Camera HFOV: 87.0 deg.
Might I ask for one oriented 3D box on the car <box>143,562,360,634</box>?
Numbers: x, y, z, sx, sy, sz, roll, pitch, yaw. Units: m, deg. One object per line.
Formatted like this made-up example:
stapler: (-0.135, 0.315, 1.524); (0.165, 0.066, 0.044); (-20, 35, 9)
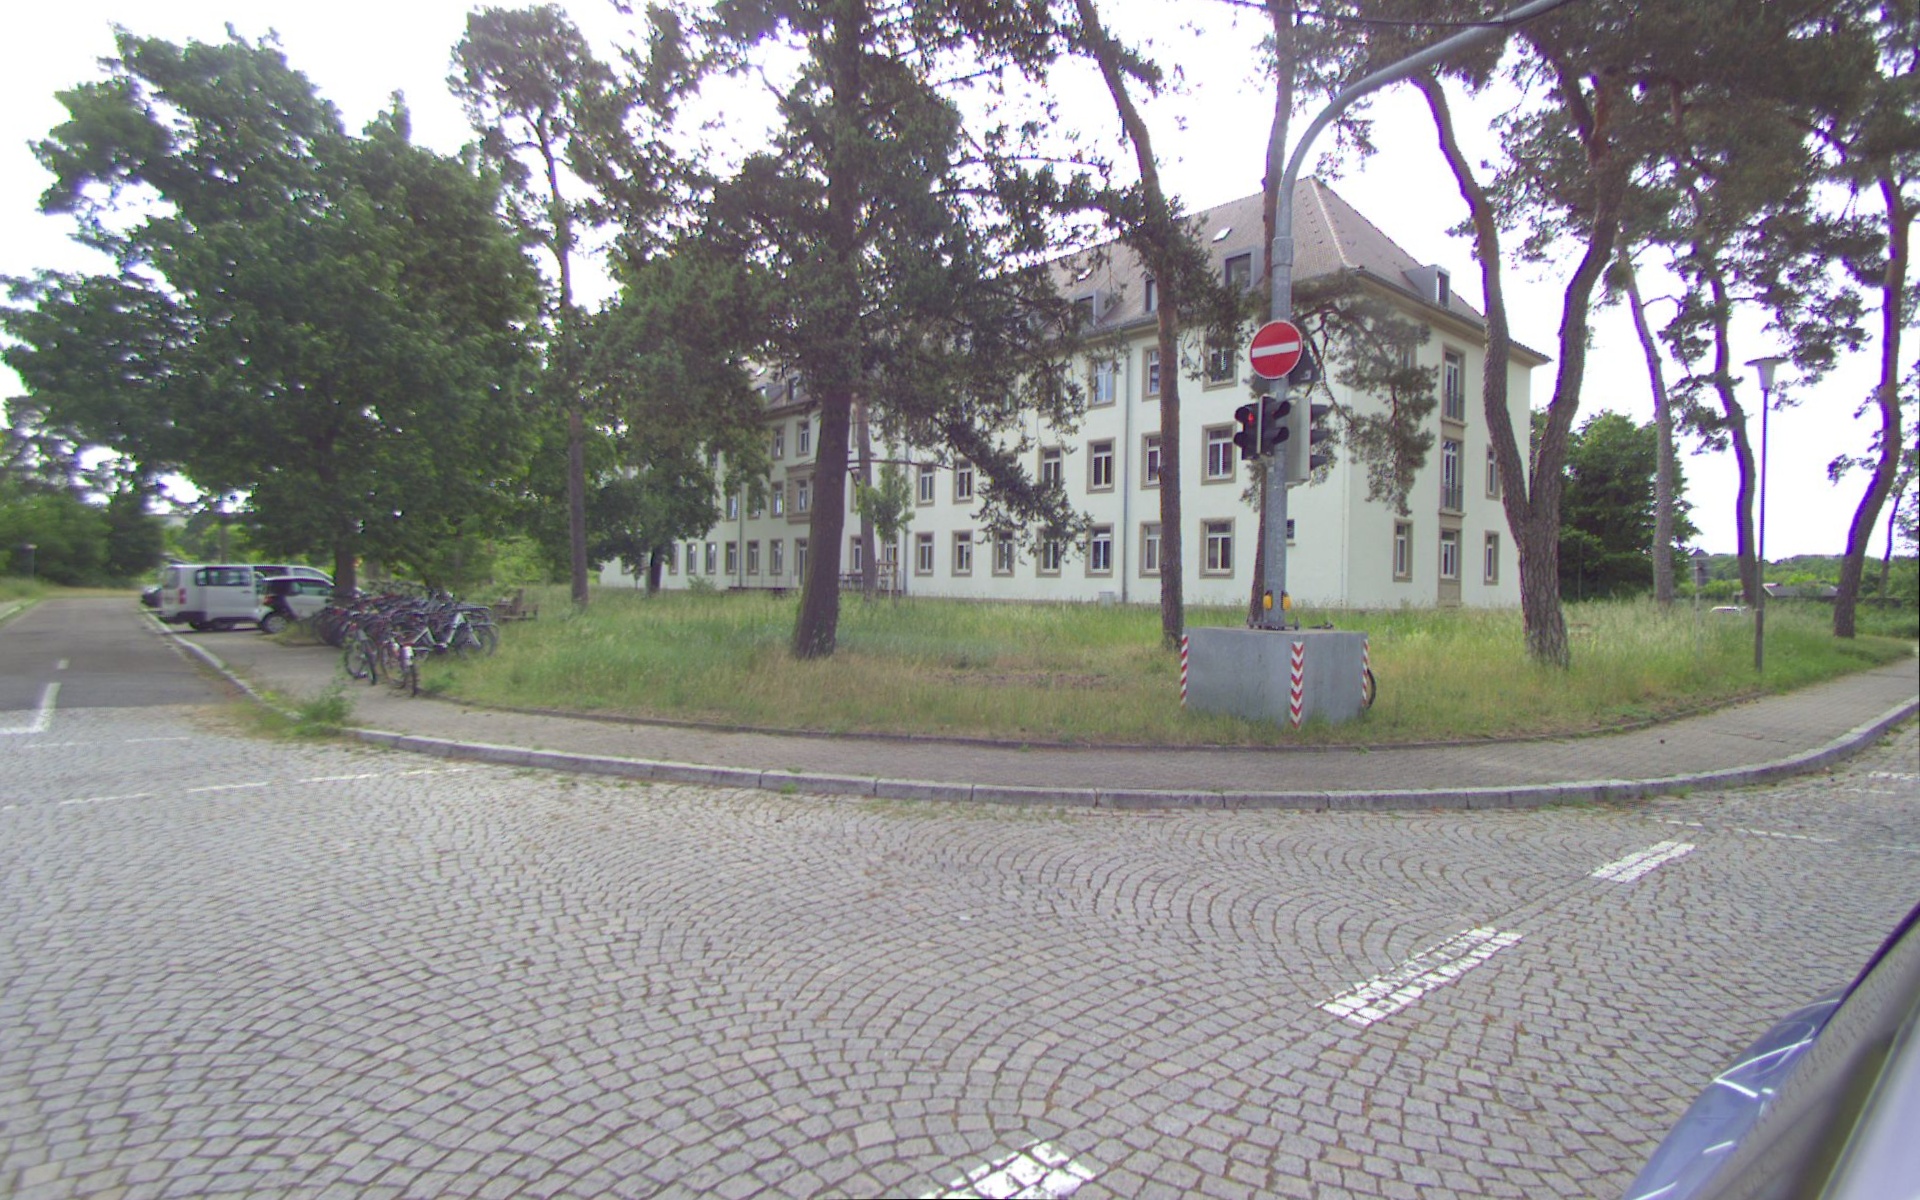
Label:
car: (-20.742, -0.086, 29.839); (2.224, 1.934, 4.805); (1, 1, 33)

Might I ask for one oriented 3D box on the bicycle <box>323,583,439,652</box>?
bicycle: (-11.728, 0.339, 20.534); (1.977, 1.336, 0.542); (0, 0, -37)

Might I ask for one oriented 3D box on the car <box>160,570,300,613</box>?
car: (-29.396, -0.354, 40.821); (4.438, 1.638, 1.997); (0, 1, -41)

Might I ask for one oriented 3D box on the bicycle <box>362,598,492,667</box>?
bicycle: (-8.977, 0.526, 17.087); (1.866, 1.115, 0.543); (0, 0, -37)

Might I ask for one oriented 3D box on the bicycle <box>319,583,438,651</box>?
bicycle: (-12.050, 0.338, 21.011); (2.092, 1.336, 0.556); (0, 0, -37)

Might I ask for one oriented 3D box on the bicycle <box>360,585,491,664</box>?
bicycle: (-9.513, 0.420, 18.064); (2.009, 1.336, 0.439); (0, 0, -37)

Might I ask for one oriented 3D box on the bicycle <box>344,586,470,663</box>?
bicycle: (-10.025, 0.420, 18.370); (1.938, 1.336, 0.578); (0, 0, -37)

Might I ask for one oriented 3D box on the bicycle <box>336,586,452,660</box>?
bicycle: (-10.698, 0.419, 19.166); (1.882, 1.336, 0.392); (0, 0, -37)

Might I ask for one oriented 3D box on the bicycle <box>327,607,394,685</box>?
bicycle: (-8.585, 0.628, 14.480); (0.533, 1.027, 1.538); (1, 0, -42)

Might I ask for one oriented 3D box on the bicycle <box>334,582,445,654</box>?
bicycle: (-11.021, 0.340, 19.589); (1.818, 1.336, 0.557); (0, 0, -37)

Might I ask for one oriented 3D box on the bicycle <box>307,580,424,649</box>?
bicycle: (-12.600, 0.293, 21.473); (2.063, 1.384, 0.759); (0, 0, -36)

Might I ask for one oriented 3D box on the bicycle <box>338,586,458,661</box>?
bicycle: (-10.425, 0.421, 18.804); (1.884, 1.336, 0.507); (0, 0, -37)

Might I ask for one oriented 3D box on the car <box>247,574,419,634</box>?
car: (-17.492, 0.090, 28.302); (3.861, 1.549, 1.860); (0, 1, -40)

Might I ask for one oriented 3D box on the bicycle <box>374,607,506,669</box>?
bicycle: (-8.514, 0.598, 16.623); (1.866, 0.961, 0.543); (0, 0, -37)

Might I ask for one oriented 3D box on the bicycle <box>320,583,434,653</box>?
bicycle: (-11.493, 0.337, 19.986); (1.902, 1.336, 0.555); (0, 0, -37)

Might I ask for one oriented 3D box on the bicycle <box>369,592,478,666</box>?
bicycle: (-9.301, 0.482, 17.575); (1.608, 1.231, 0.543); (0, 0, -37)

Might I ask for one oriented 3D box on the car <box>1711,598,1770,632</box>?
car: (37.193, 0.679, 48.182); (3.222, 1.451, 1.639); (-3, 3, -41)

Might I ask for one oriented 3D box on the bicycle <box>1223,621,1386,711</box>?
bicycle: (3.887, 0.713, 11.522); (0.563, 0.885, 1.703); (1, 1, -41)

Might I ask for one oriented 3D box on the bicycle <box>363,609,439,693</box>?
bicycle: (-7.335, 0.636, 13.245); (0.521, 0.992, 1.623); (1, 0, -42)
